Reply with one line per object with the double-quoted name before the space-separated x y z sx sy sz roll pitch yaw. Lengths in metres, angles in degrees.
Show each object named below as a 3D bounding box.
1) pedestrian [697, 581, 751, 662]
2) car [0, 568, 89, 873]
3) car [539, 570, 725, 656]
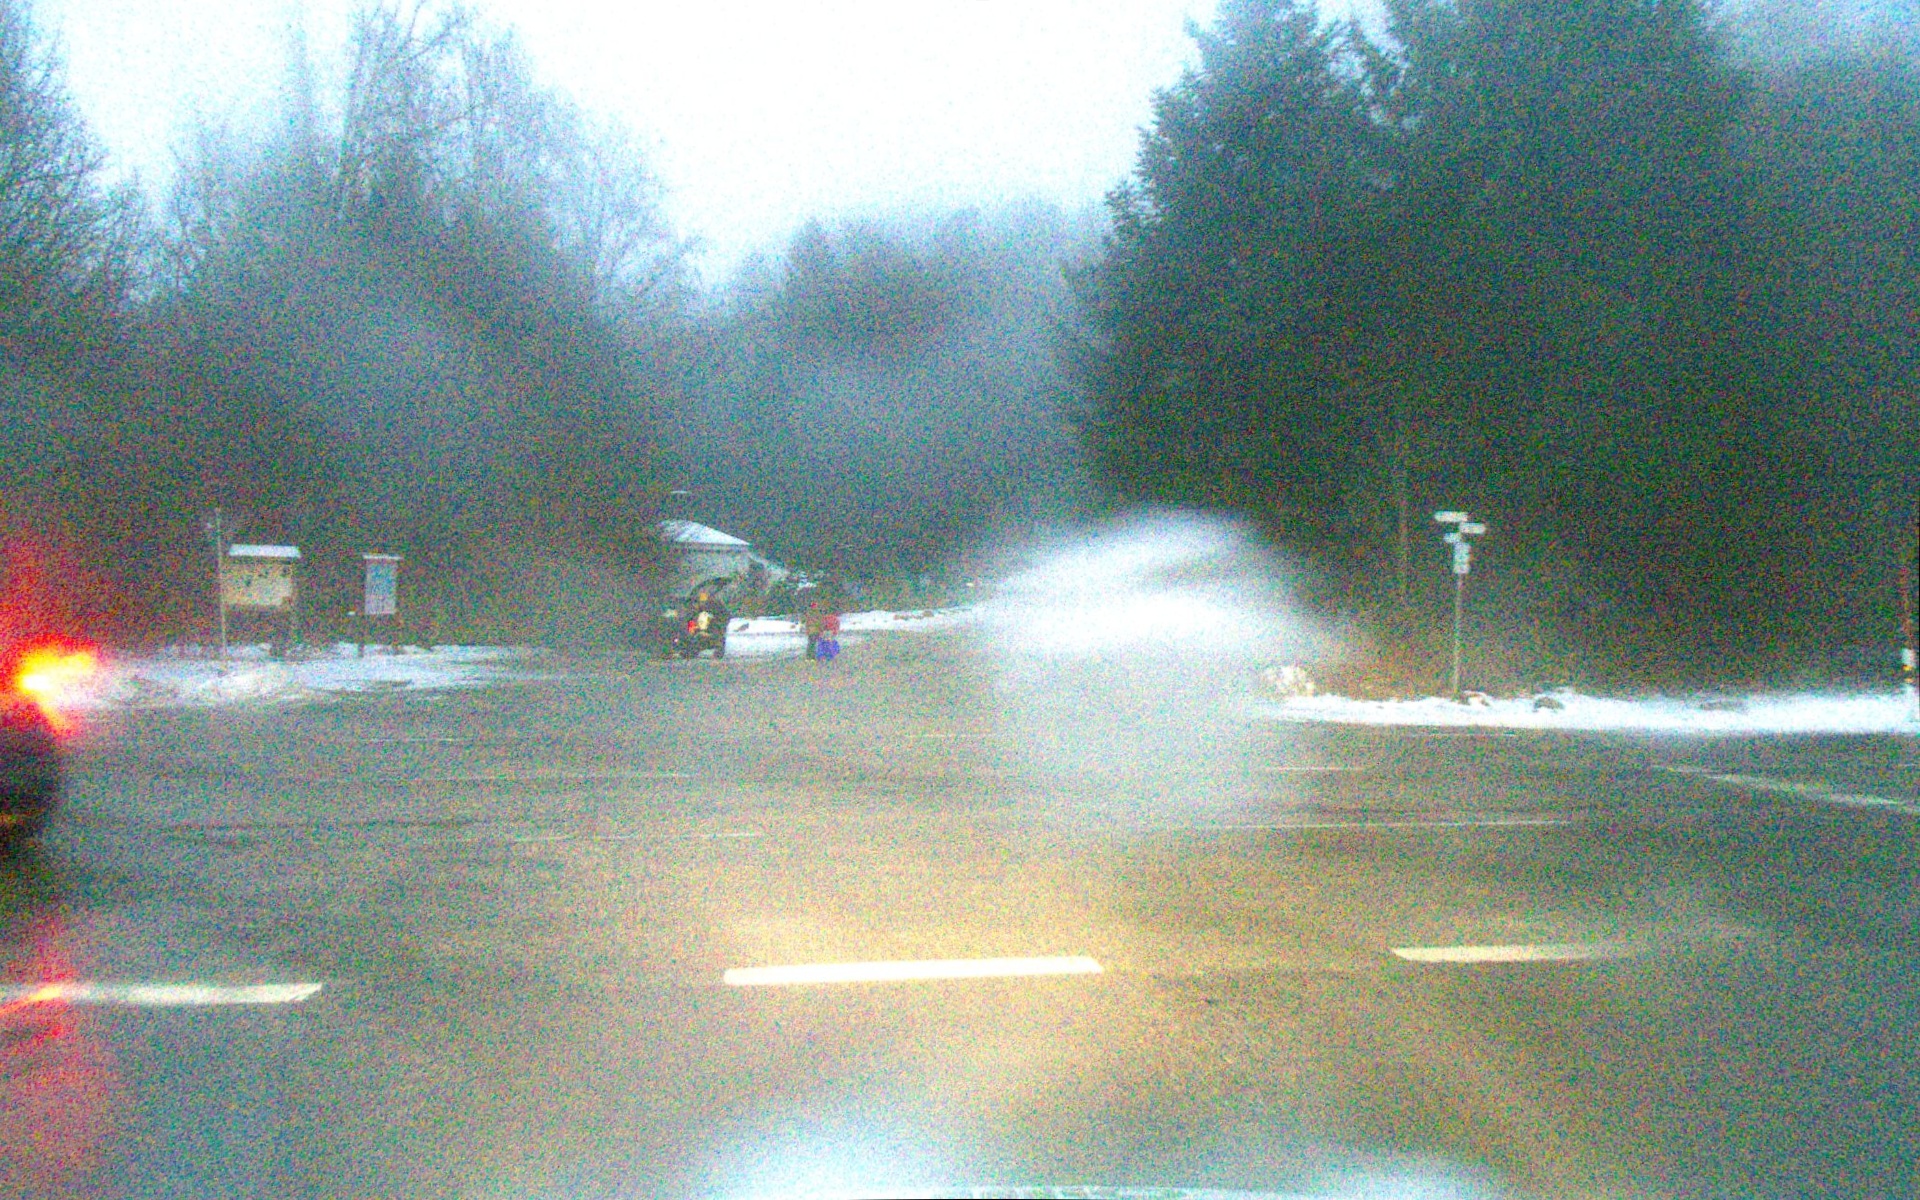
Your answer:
"pedestrian" -5.518 0.510 38.750 0.940 1.860 0.925 1 -1 14
"car" -6.825 0.614 9.082 3.767 1.579 1.696 0 -1 25
"car" -7.802 0.322 39.530 3.863 1.914 2.001 1 -1 9
